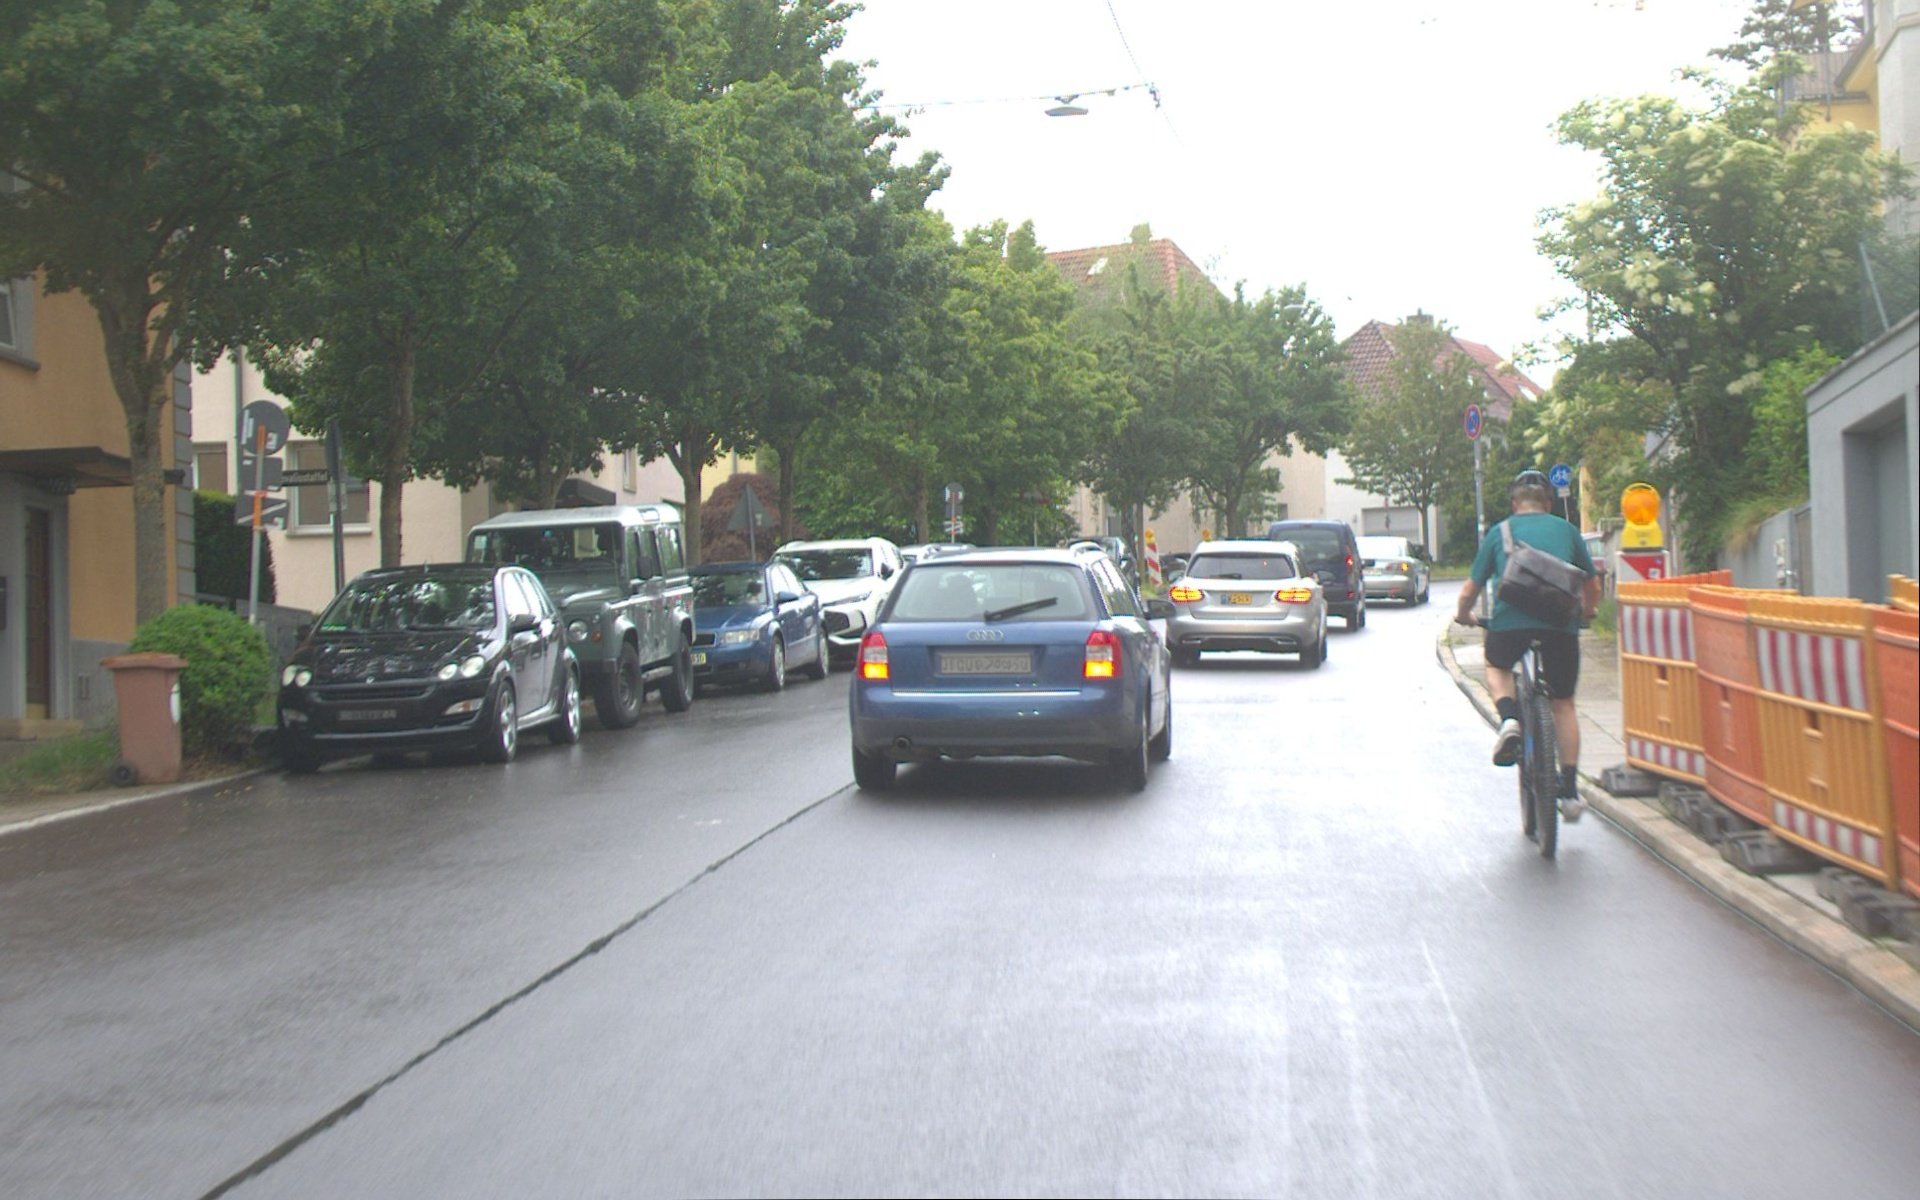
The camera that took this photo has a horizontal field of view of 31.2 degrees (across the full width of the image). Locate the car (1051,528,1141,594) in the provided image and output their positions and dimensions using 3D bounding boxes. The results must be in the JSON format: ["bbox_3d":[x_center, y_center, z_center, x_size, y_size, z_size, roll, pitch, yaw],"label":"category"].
[{"bbox_3d":[2.963,-0.870,74.611,1.475,1.291,3.219,1,3,11],"label":"car"}]

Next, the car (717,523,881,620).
[{"bbox_3d":[-3.585,-0.646,76.747,3.211,1.734,1.479,-7,1,10],"label":"car"}]

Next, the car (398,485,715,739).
[{"bbox_3d":[-3.614,0.026,31.731,1.792,2.042,4.781,-4,1,6],"label":"car"}]

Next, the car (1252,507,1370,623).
[{"bbox_3d":[5.937,-0.632,57.805,1.734,1.762,4.234,1,3,9],"label":"car"}]

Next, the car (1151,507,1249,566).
[{"bbox_3d":[6.539,-1.736,93.388,1.735,1.461,3.997,2,3,18],"label":"car"}]

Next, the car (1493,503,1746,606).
[{"bbox_3d":[10.921,-0.763,56.847,3.989,1.461,1.738,-3,2,13],"label":"car"}]

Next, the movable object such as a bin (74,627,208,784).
[{"bbox_3d":[-5.762,0.733,24.218,0.682,1.008,0.708,-5,1,0],"label":"movable object such as a bin"}]

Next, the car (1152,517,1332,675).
[{"bbox_3d":[3.358,-0.099,40.442,1.976,1.629,4.235,1,3,6],"label":"car"}]

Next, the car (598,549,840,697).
[{"bbox_3d":[-2.643,0.211,38.825,1.768,1.382,4.633,-3,2,8],"label":"car"}]

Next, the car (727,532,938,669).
[{"bbox_3d":[-1.597,-0.020,44.858,1.769,1.621,4.688,-2,0,10],"label":"car"}]

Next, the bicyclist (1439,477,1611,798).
[{"bbox_3d":[2.648,0.165,16.184,0.725,1.467,0.886,-1,1,5],"label":"bicyclist"}]

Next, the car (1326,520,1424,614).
[{"bbox_3d":[8.671,-0.719,71.581,1.734,1.762,4.234,1,3,10],"label":"car"}]

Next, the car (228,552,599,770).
[{"bbox_3d":[-4.062,0.398,26.246,1.768,1.431,4.347,-3,1,5],"label":"car"}]

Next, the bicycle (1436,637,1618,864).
[{"bbox_3d":[2.651,0.680,16.205,0.730,0.961,1.670,0,1,5],"label":"bicycle"}]

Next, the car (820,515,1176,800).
[{"bbox_3d":[0.331,0.270,21.216,1.734,1.461,3.999,1,3,7],"label":"car"}]
